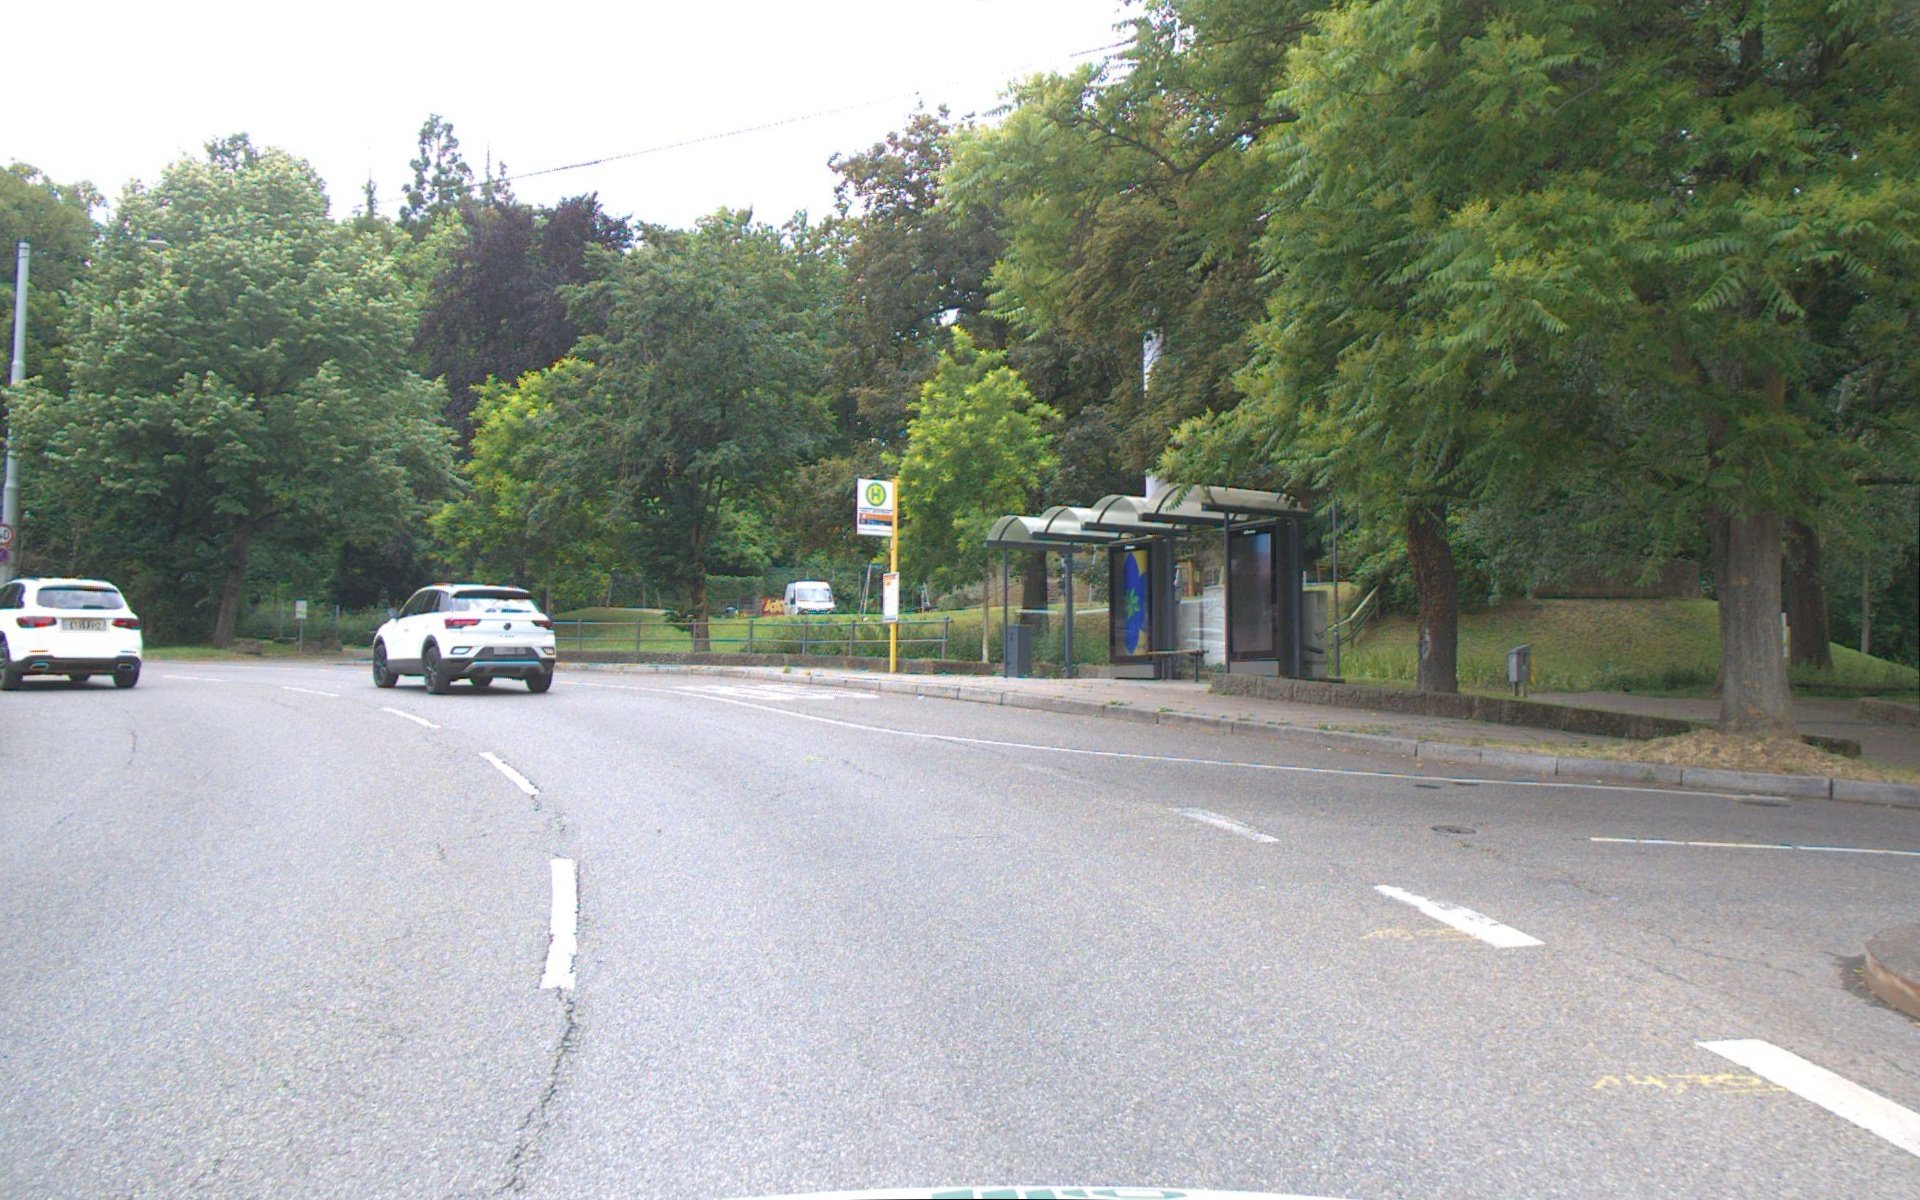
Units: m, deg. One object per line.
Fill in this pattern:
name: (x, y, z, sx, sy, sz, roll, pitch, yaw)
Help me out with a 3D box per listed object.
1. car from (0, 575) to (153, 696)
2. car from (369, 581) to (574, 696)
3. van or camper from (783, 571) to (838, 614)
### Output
car: (-14.236, 0.476, 25.888, 1.866, 1.680, 4.277, -1, 2, -41)
car: (-7.440, 0.548, 24.982, 1.849, 1.583, 3.846, 1, -1, -35)
van or camper: (-7.583, -0.371, 83.385, 2.262, 2.049, 5.428, 1, 0, -10)
